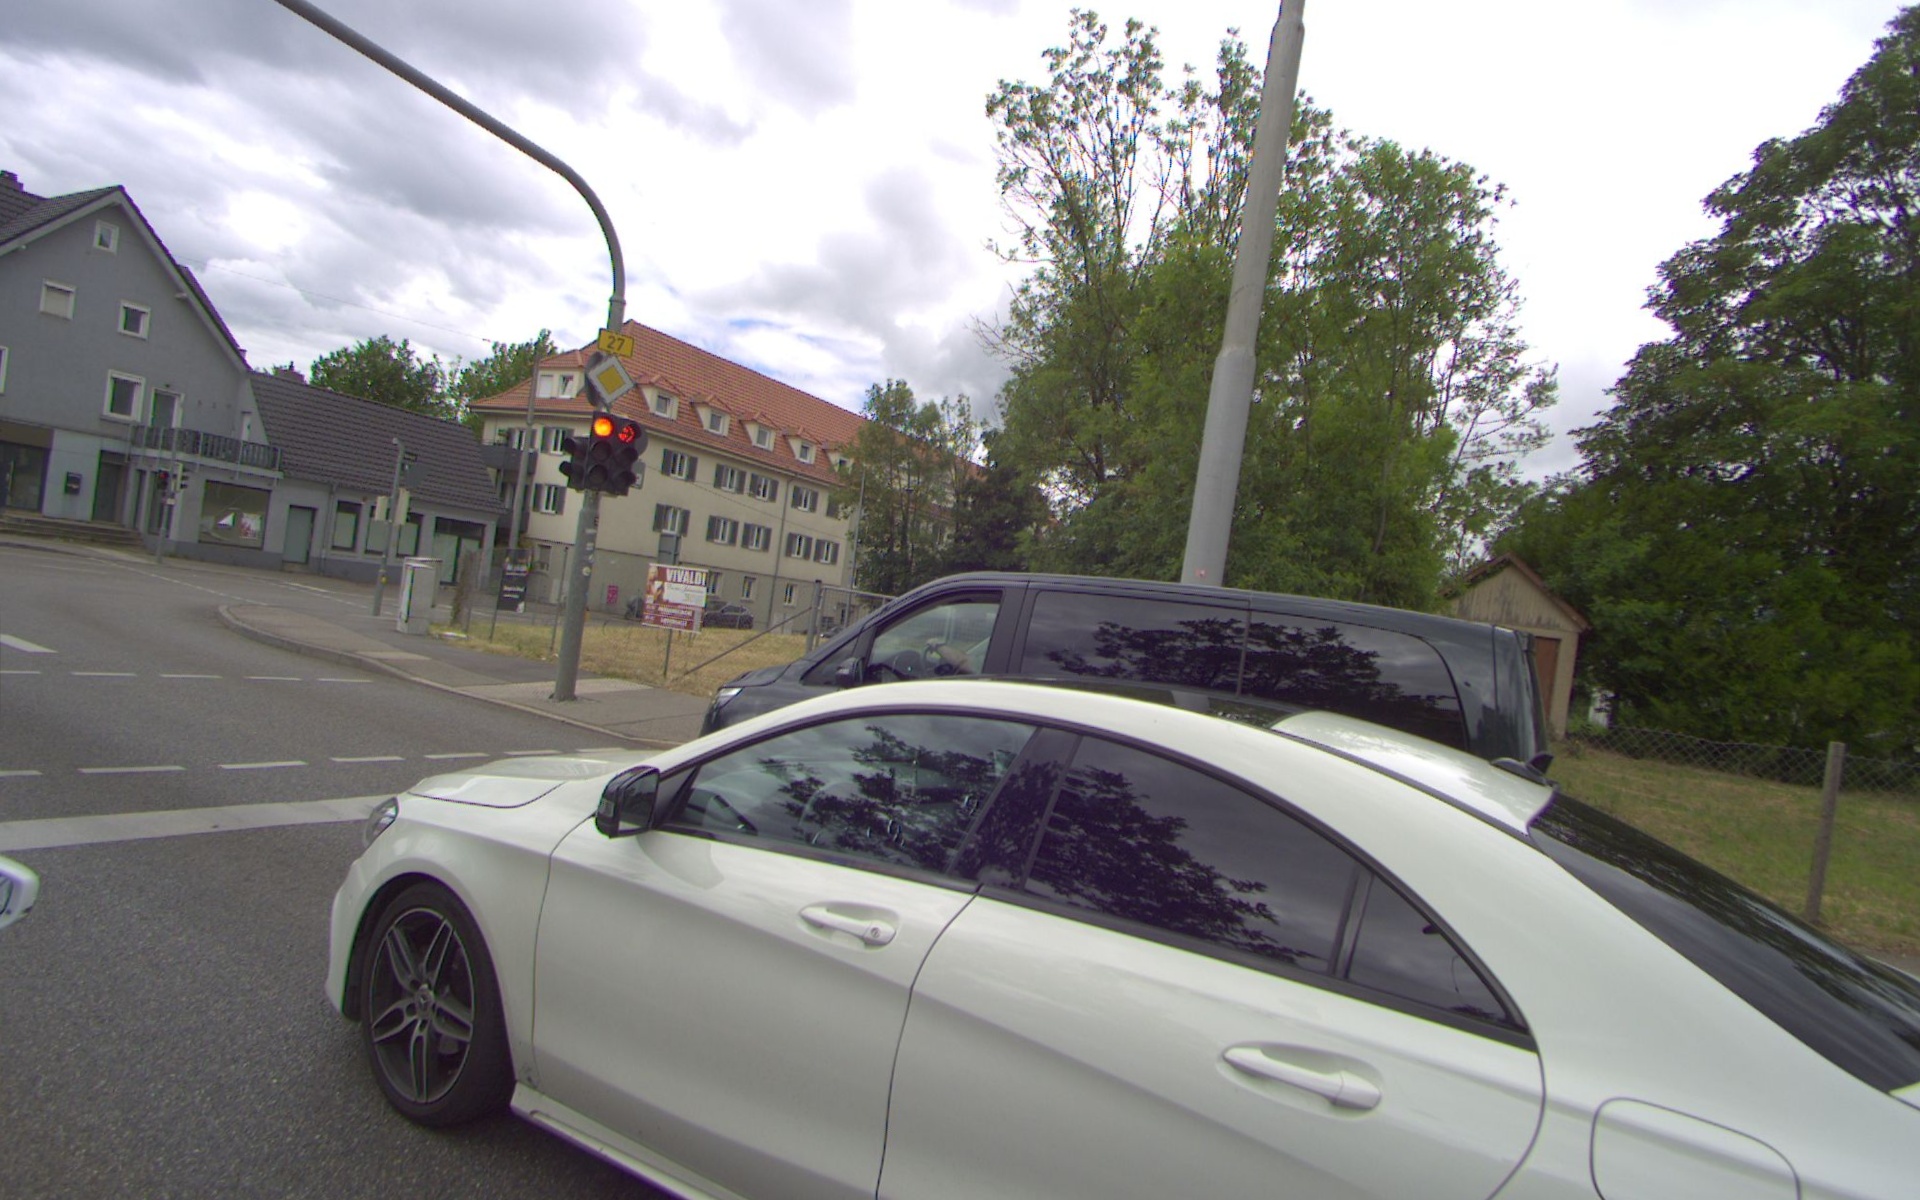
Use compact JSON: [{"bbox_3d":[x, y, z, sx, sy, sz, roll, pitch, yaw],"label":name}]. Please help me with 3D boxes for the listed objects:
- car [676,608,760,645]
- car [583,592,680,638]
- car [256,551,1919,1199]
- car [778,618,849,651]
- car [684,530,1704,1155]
[{"bbox_3d":[-12.622,1.399,52.649,1.839,1.393,3.996,7,-2,32],"label":"car"},{"bbox_3d":[-15.517,0.737,47.661,1.839,1.554,3.996,7,-2,32],"label":"car"},{"bbox_3d":[0.164,0.849,2.642,4.305,1.451,1.651,7,0,32],"label":"car"},{"bbox_3d":[-8.349,1.995,57.494,1.838,1.393,3.998,7,-2,29],"label":"car"},{"bbox_3d":[0.967,0.847,5.491,4.631,1.860,1.953,7,-2,32],"label":"car"}]
